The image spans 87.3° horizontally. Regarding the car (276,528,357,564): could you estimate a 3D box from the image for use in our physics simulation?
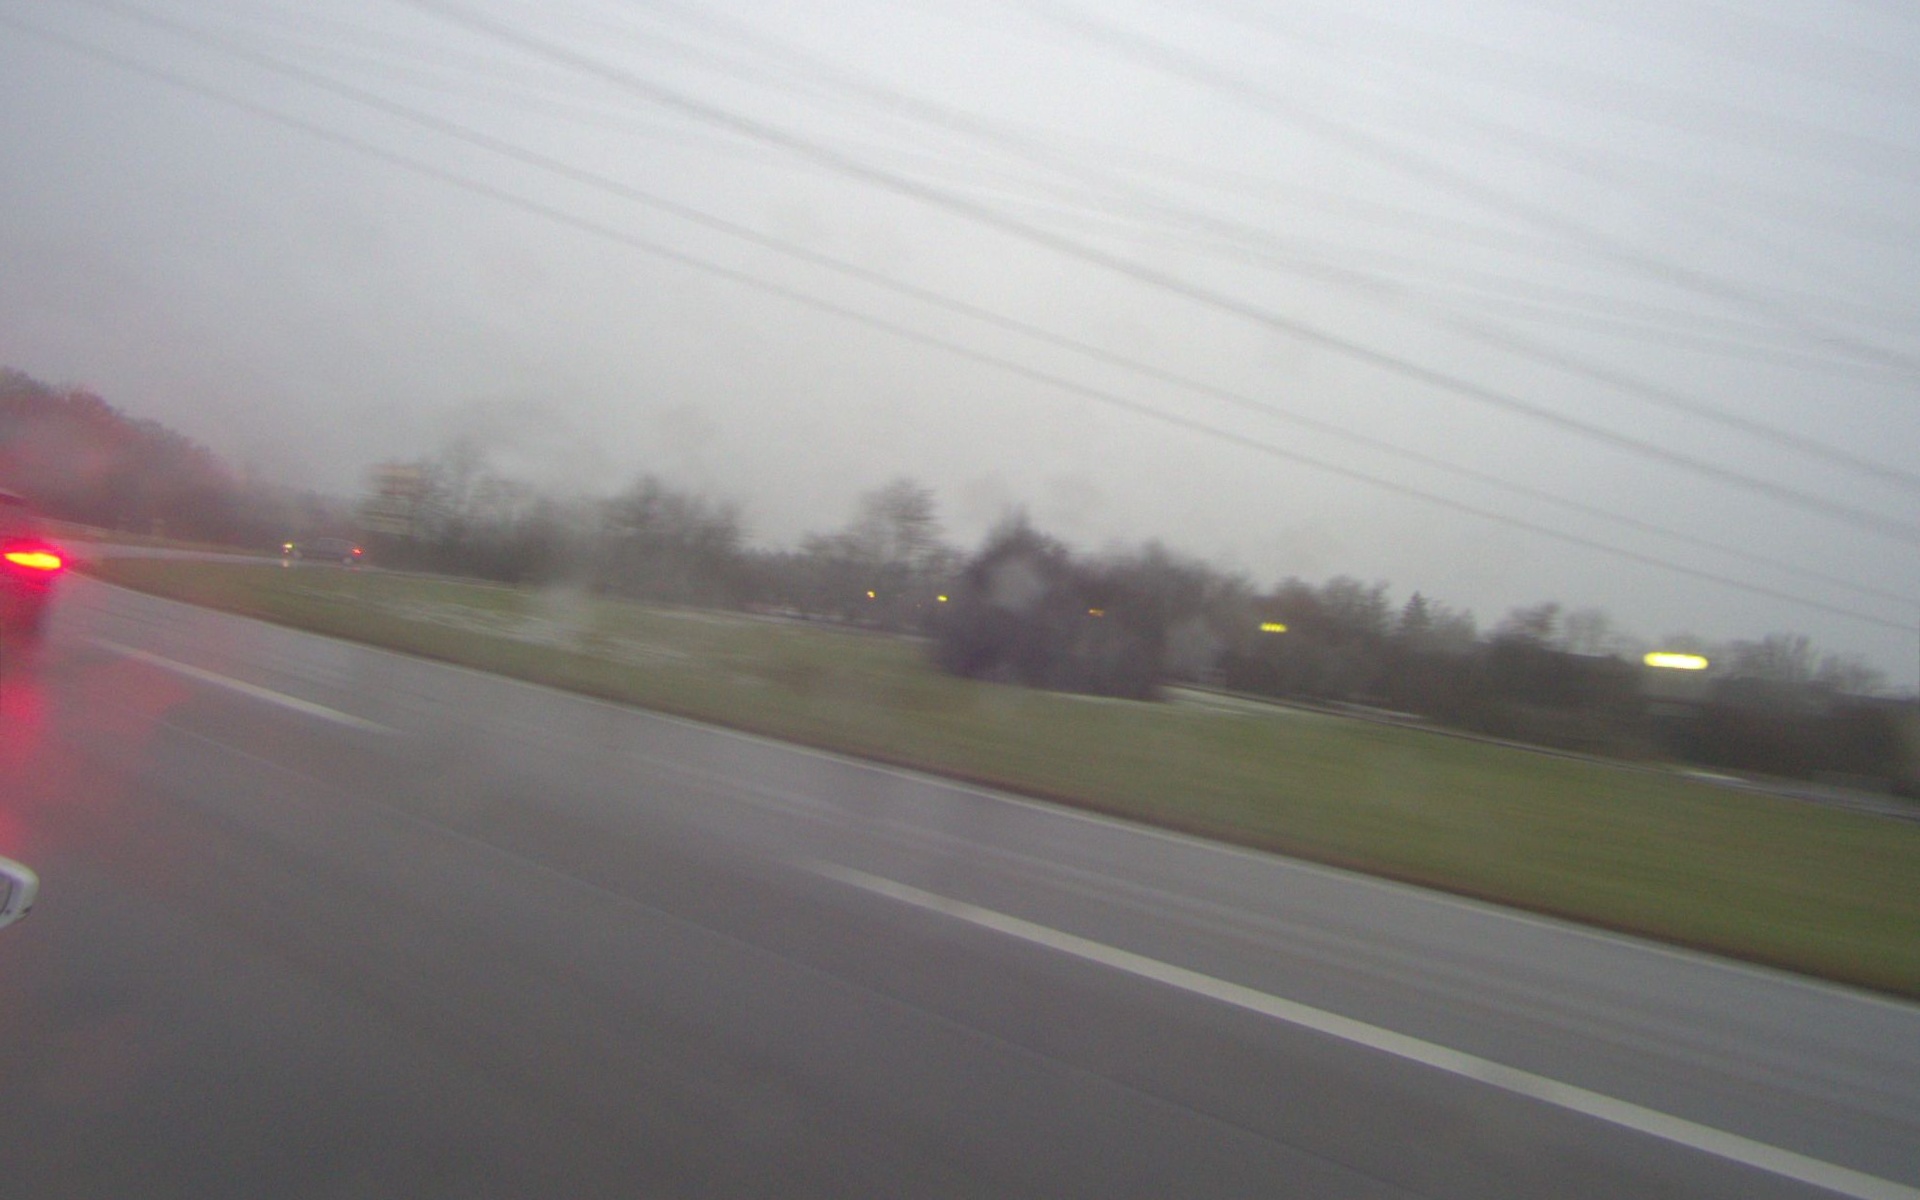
[{"bbox_3d":[-37.141,-3.099,58.172,3.783,1.451,1.778,9,-1,-32],"label":"car"}]
